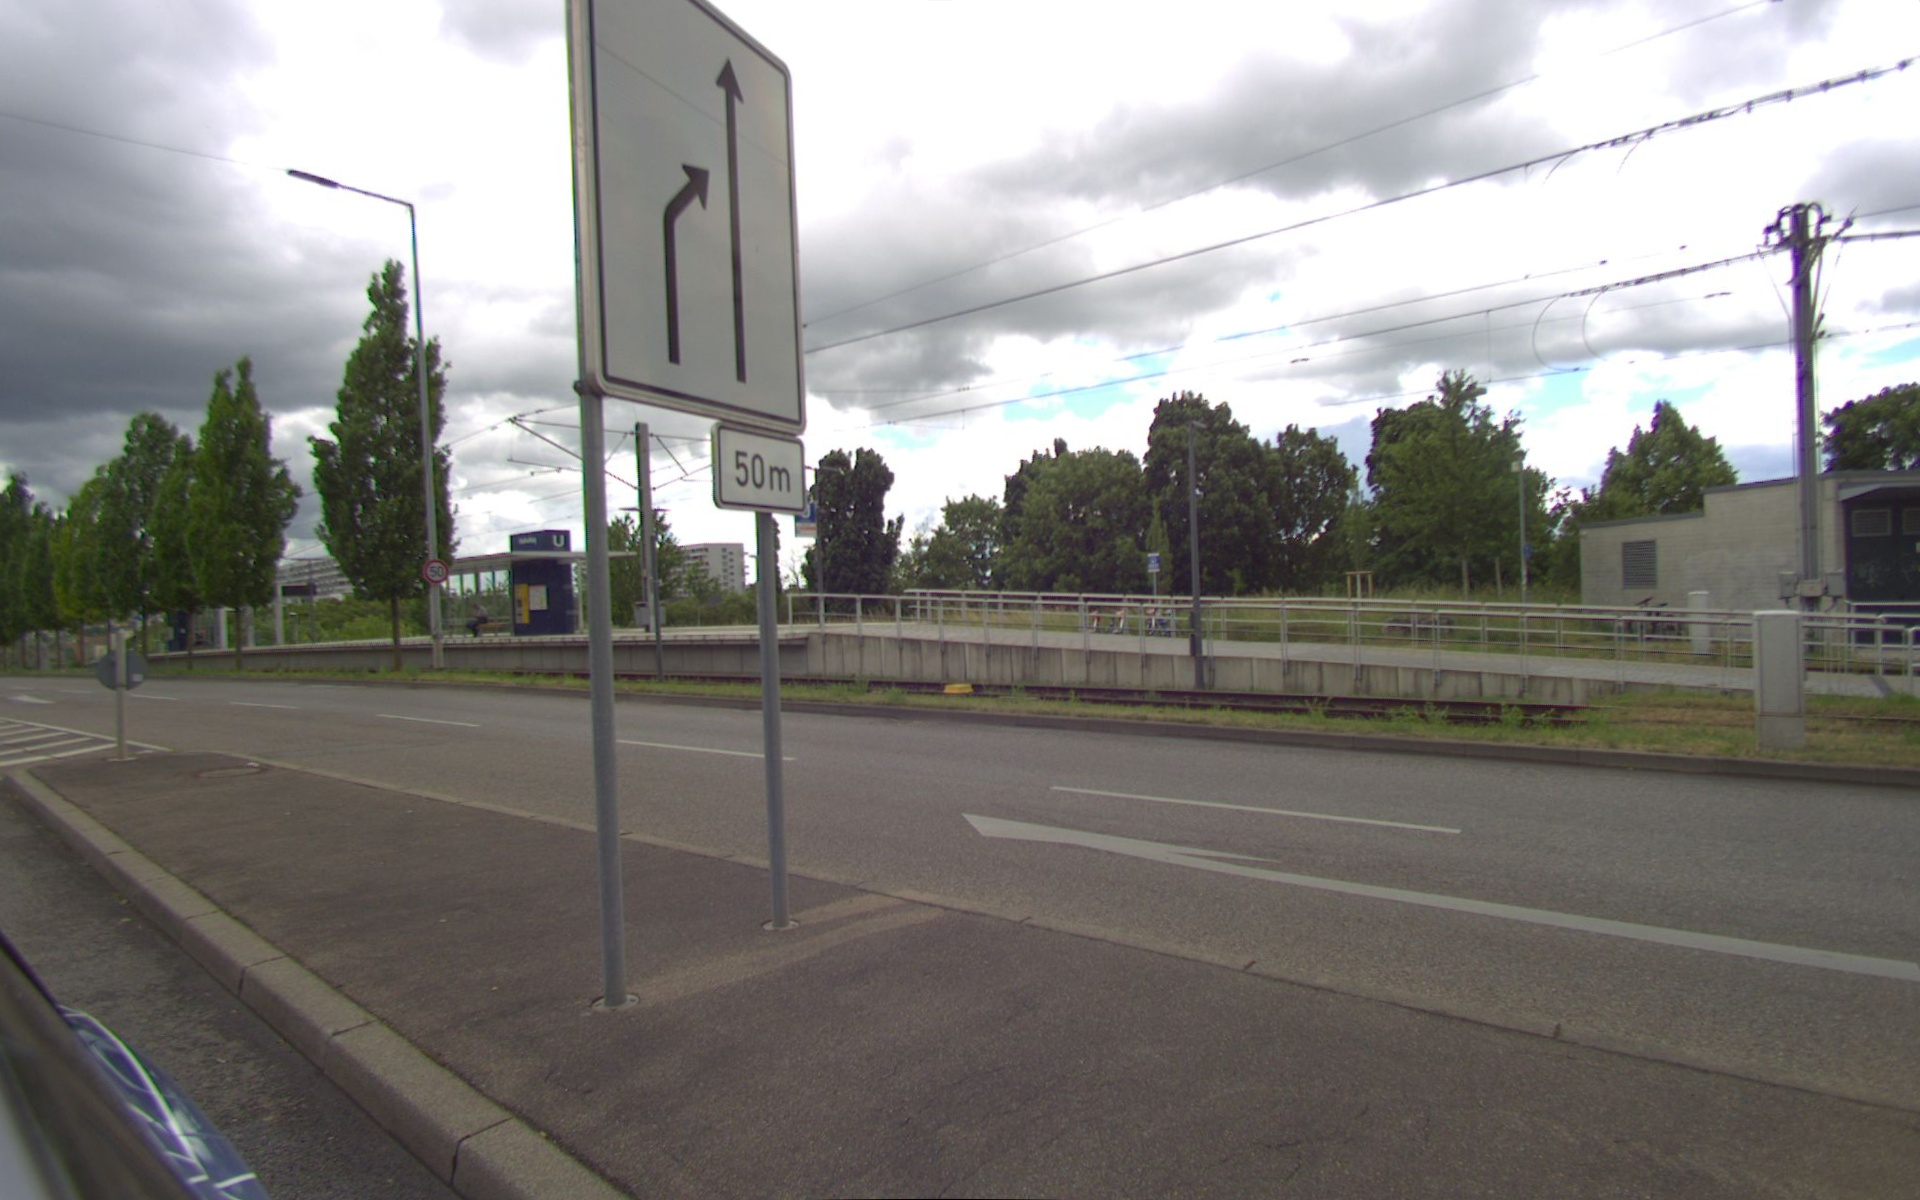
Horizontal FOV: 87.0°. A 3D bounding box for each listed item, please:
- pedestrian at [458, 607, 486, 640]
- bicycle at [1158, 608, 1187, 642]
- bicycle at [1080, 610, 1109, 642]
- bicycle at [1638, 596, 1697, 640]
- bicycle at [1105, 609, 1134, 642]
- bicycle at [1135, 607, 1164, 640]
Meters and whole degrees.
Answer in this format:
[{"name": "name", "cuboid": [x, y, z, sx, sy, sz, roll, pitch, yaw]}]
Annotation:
[{"name": "pedestrian", "cuboid": [-18.258, 0.878, 37.861, 0.781, 1.211, 0.656, -2, -1, 33]}, {"name": "bicycle", "cuboid": [7.039, 0.815, 33.457, 0.490, 1.095, 1.466, -2, -1, 30]}, {"name": "bicycle", "cuboid": [4.676, 0.894, 35.150, 0.490, 1.095, 1.466, -2, -1, 30]}, {"name": "bicycle", "cuboid": [18.188, 0.457, 26.049, 0.486, 1.095, 1.480, -1, -1, 3]}, {"name": "bicycle", "cuboid": [5.433, 0.867, 34.448, 0.490, 1.095, 1.466, -2, -1, 30]}, {"name": "bicycle", "cuboid": [6.372, 0.781, 33.937, 0.490, 1.095, 1.466, -2, -1, 30]}]
